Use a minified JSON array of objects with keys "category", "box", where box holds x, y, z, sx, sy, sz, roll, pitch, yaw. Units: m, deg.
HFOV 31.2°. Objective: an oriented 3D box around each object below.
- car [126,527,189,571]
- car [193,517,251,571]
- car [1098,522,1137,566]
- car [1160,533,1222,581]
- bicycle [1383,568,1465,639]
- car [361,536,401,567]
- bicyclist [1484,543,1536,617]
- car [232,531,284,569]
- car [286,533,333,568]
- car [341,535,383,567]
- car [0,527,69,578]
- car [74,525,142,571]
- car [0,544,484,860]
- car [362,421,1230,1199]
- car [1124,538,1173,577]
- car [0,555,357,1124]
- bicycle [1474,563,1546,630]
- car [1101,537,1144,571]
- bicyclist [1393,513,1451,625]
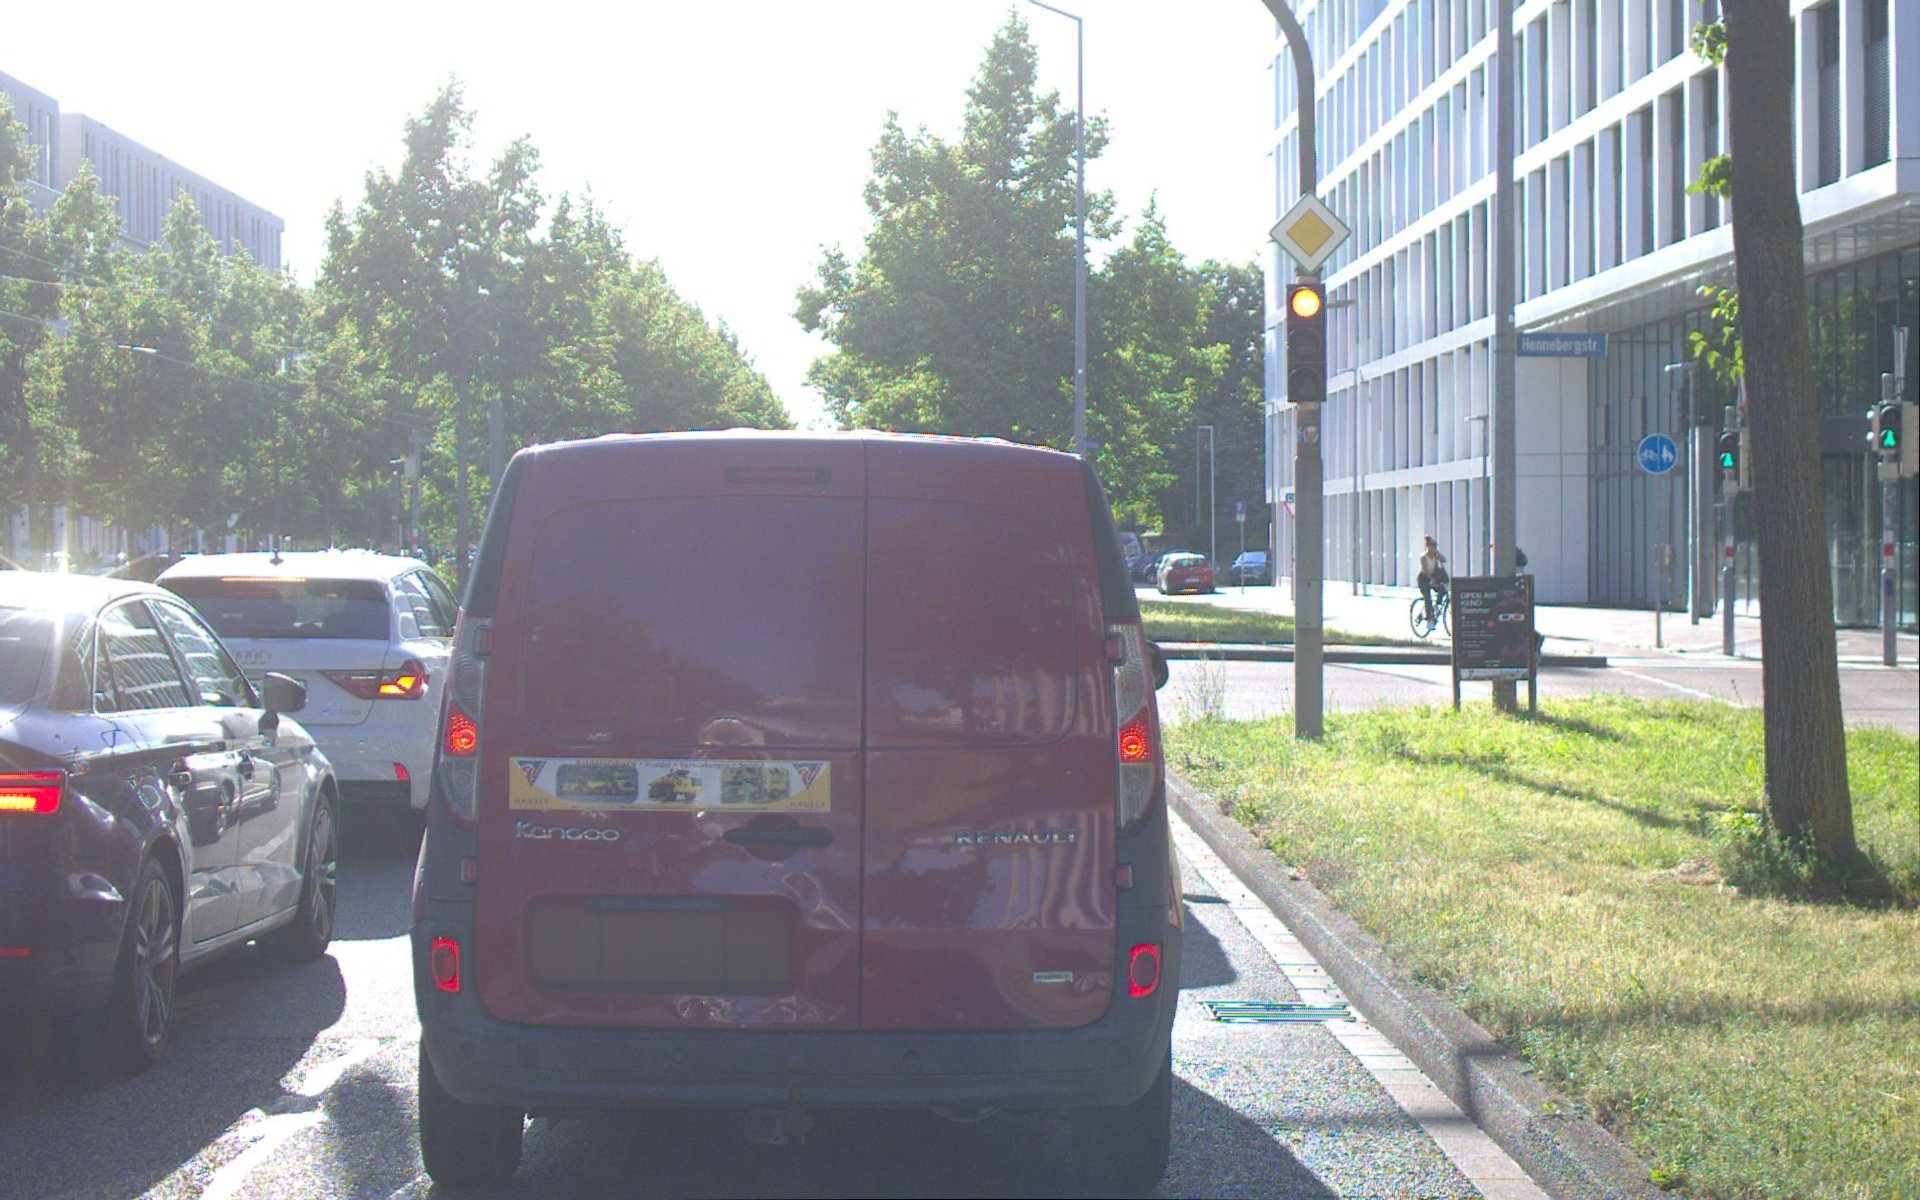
[{"category":"car","box":[-36.960,-2.374,158.427,1.993,2.007,4.000,0,1,-1]},{"category":"car","box":[-36.127,-2.754,168.355,1.993,2.598,4.000,0,1,-1]},{"category":"car","box":[9.080,-3.255,198.326,1.993,2.488,4.987,0,1,-1]},{"category":"car","box":[8.581,-1.620,128.101,1.993,1.776,4.000,0,1,-1]},{"category":"bicycle","box":[8.043,0.044,59.749,0.815,1.186,2.952,0,1,-4]},{"category":"car","box":[-37.538,-3.147,222.870,1.993,2.007,4.000,0,1,-1]},{"category":"bicyclist","box":[9.551,-0.347,59.747,0.818,1.270,0.683,0,1,2]},{"category":"car","box":[-37.219,-2.664,182.413,1.993,2.007,4.000,0,1,-1]},{"category":"car","box":[-37.669,-2.877,199.228,1.993,2.007,4.000,0,1,-1]},{"category":"car","box":[-37.749,-3.090,217.246,1.993,2.007,4.000,0,1,-1]},{"category":"car","box":[-36.893,-1.897,136.500,1.993,2.007,4.000,0,1,-1]},{"category":"car","box":[-36.973,-2.269,149.327,1.993,2.007,4.000,0,1,-1]},{"category":"car","box":[-3.586,0.431,17.583,1.803,1.421,3.901,0,1,-1]},{"category":"car","box":[-0.374,0.471,9.311,1.842,1.774,4.000,0,1,-1]},{"category":"car","box":[8.791,-1.990,160.619,1.993,1.776,4.000,0,1,-1]},{"category":"car","box":[-3.191,0.581,10.925,1.842,1.421,4.339,0,1,-1]},{"category":"bicycle","box":[9.556,-0.077,59.795,0.818,1.111,2.846,0,1,1]},{"category":"car","box":[8.494,-2.423,179.817,1.993,1.776,4.000,0,1,-1]},{"category":"bicyclist","box":[8.027,-0.547,59.756,0.815,1.940,1.002,0,1,-4]}]
